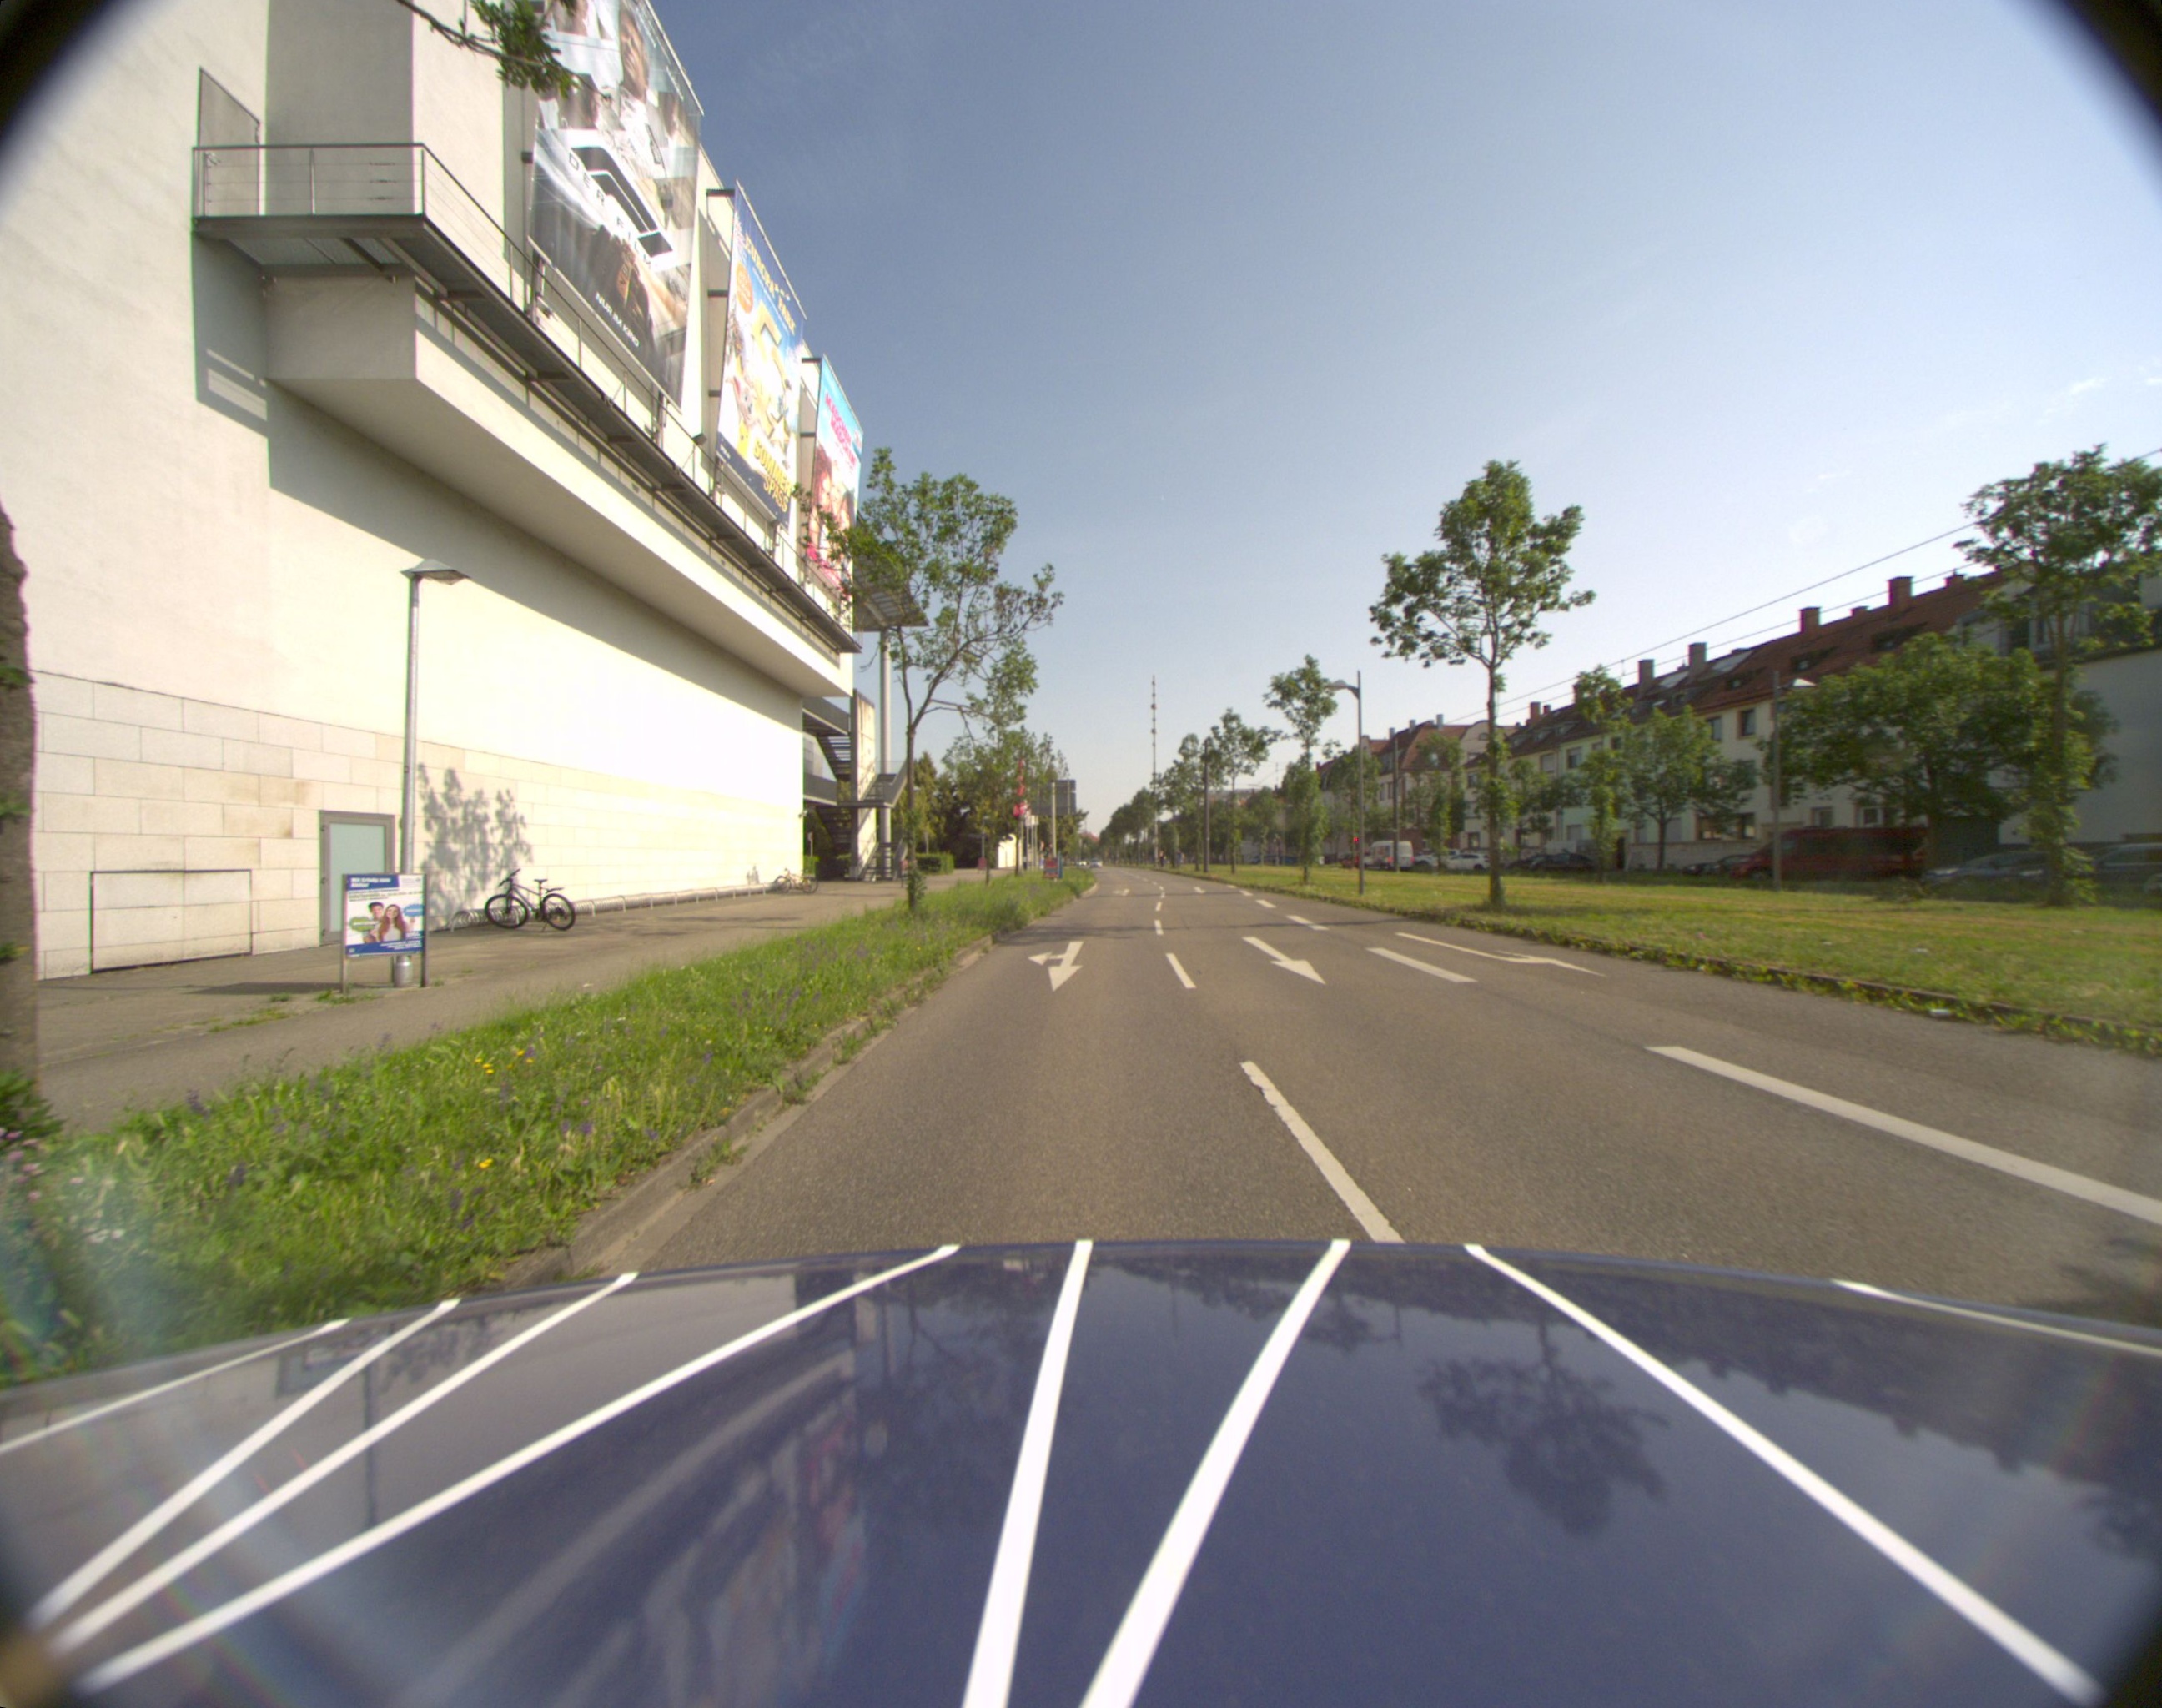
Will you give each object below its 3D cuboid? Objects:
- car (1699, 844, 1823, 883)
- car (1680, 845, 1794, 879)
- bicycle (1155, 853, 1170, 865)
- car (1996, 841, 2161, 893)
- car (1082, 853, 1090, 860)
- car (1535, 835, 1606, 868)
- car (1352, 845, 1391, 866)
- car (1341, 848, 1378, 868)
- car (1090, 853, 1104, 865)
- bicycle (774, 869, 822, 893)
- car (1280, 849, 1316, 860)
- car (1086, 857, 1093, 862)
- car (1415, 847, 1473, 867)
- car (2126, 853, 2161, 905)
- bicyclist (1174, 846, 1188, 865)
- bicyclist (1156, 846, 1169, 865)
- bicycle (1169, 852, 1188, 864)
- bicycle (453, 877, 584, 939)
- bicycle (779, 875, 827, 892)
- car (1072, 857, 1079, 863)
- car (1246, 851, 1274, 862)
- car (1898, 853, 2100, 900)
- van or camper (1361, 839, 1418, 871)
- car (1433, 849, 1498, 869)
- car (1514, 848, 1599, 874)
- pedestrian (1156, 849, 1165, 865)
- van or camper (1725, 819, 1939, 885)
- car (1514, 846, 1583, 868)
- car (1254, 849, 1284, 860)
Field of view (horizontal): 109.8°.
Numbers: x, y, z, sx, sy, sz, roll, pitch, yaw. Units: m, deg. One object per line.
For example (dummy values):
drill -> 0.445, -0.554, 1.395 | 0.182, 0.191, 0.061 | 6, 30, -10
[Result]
car -> 31.181, 0.428, 35.023 | 4.141, 1.607, 1.872 | -1, 3, 38
car -> 31.956, 0.393, 37.167 | 4.141, 1.501, 1.872 | -1, 3, 38
bicycle -> 8.011, 0.475, 74.631 | 0.575, 1.139, 1.756 | 0, 1, 38
car -> 30.174, 0.393, 22.413 | 3.712, 1.426, 1.645 | -2, 0, 33
car -> 1.138, 0.647, 188.946 | 1.999, 1.652, 4.000 | 0, 0, 0
car -> 37.949, -0.197, 59.111 | 1.998, 2.449, 5.578 | -2, 0, 1
car -> 37.550, 0.182, 98.522 | 2.354, 2.549, 6.506 | -2, 0, -2
car -> 25.431, 0.348, 69.537 | 1.820, 1.727, 4.161 | 1, 0, 1
car -> 2.327, 0.729, 112.707 | 1.999, 1.652, 4.000 | 0, 0, 0
bicycle -> -10.789, 1.022, 28.986 | 1.661, 0.910, 0.482 | 0, 0, 0
car -> 31.181, 0.085, 109.288 | 4.503, 1.432, 2.004 | -2, 0, 31
car -> 2.611, 1.601, 223.352 | 1.999, 1.652, 4.000 | 0, 0, 0
car -> 30.538, 0.288, 64.032 | 4.088, 1.520, 1.816 | -2, 1, 37
car -> 30.434, 0.605, 19.197 | 4.388, 1.312, 1.737 | -2, 0, 33
bicyclist -> 10.168, 0.134, 77.430 | 1.185, 1.840, 0.911 | -2, 1, 18
bicyclist -> 8.045, 0.125, 74.687 | 0.905, 1.812, 0.873 | 0, 1, 36
bicycle -> 9.971, 0.435, 77.472 | 1.790, 1.139, 0.577 | -2, 1, 17
bicycle -> -10.542, 1.005, 14.271 | 2.013, 1.096, 0.676 | -1, 1, 4
bicycle -> -10.811, 1.151, 29.561 | 1.661, 0.641, 0.538 | 0, 0, 0
car -> -1.509, 1.724, 222.696 | 1.999, 1.652, 4.000 | 0, 0, 0
car -> 28.667, 0.400, 121.862 | 3.990, 1.696, 1.878 | -2, 1, 29
car -> 30.574, 0.746, 25.514 | 3.989, 1.412, 1.785 | -2, 1, 35
van or camper -> 25.302, 0.048, 62.662 | 2.147, 2.459, 6.058 | 1, 0, 0
car -> 30.849, 0.421, 60.972 | 4.354, 1.466, 1.861 | -2, 1, 37
car -> 30.318, 0.460, 48.507 | 4.338, 1.521, 2.004 | -2, 1, 39
pedestrian -> 7.974, 0.275, 76.389 | 0.610, 1.594, 0.737 | 0, 0, 43
van or camper -> 31.185, -0.038, 31.954 | 6.144, 2.532, 2.419 | -1, 0, 37
car -> 31.393, 0.225, 51.059 | 3.767, 1.335, 1.776 | -2, 1, 37
car -> 31.098, 0.041, 125.718 | 4.490, 1.596, 2.003 | -2, 0, 29
